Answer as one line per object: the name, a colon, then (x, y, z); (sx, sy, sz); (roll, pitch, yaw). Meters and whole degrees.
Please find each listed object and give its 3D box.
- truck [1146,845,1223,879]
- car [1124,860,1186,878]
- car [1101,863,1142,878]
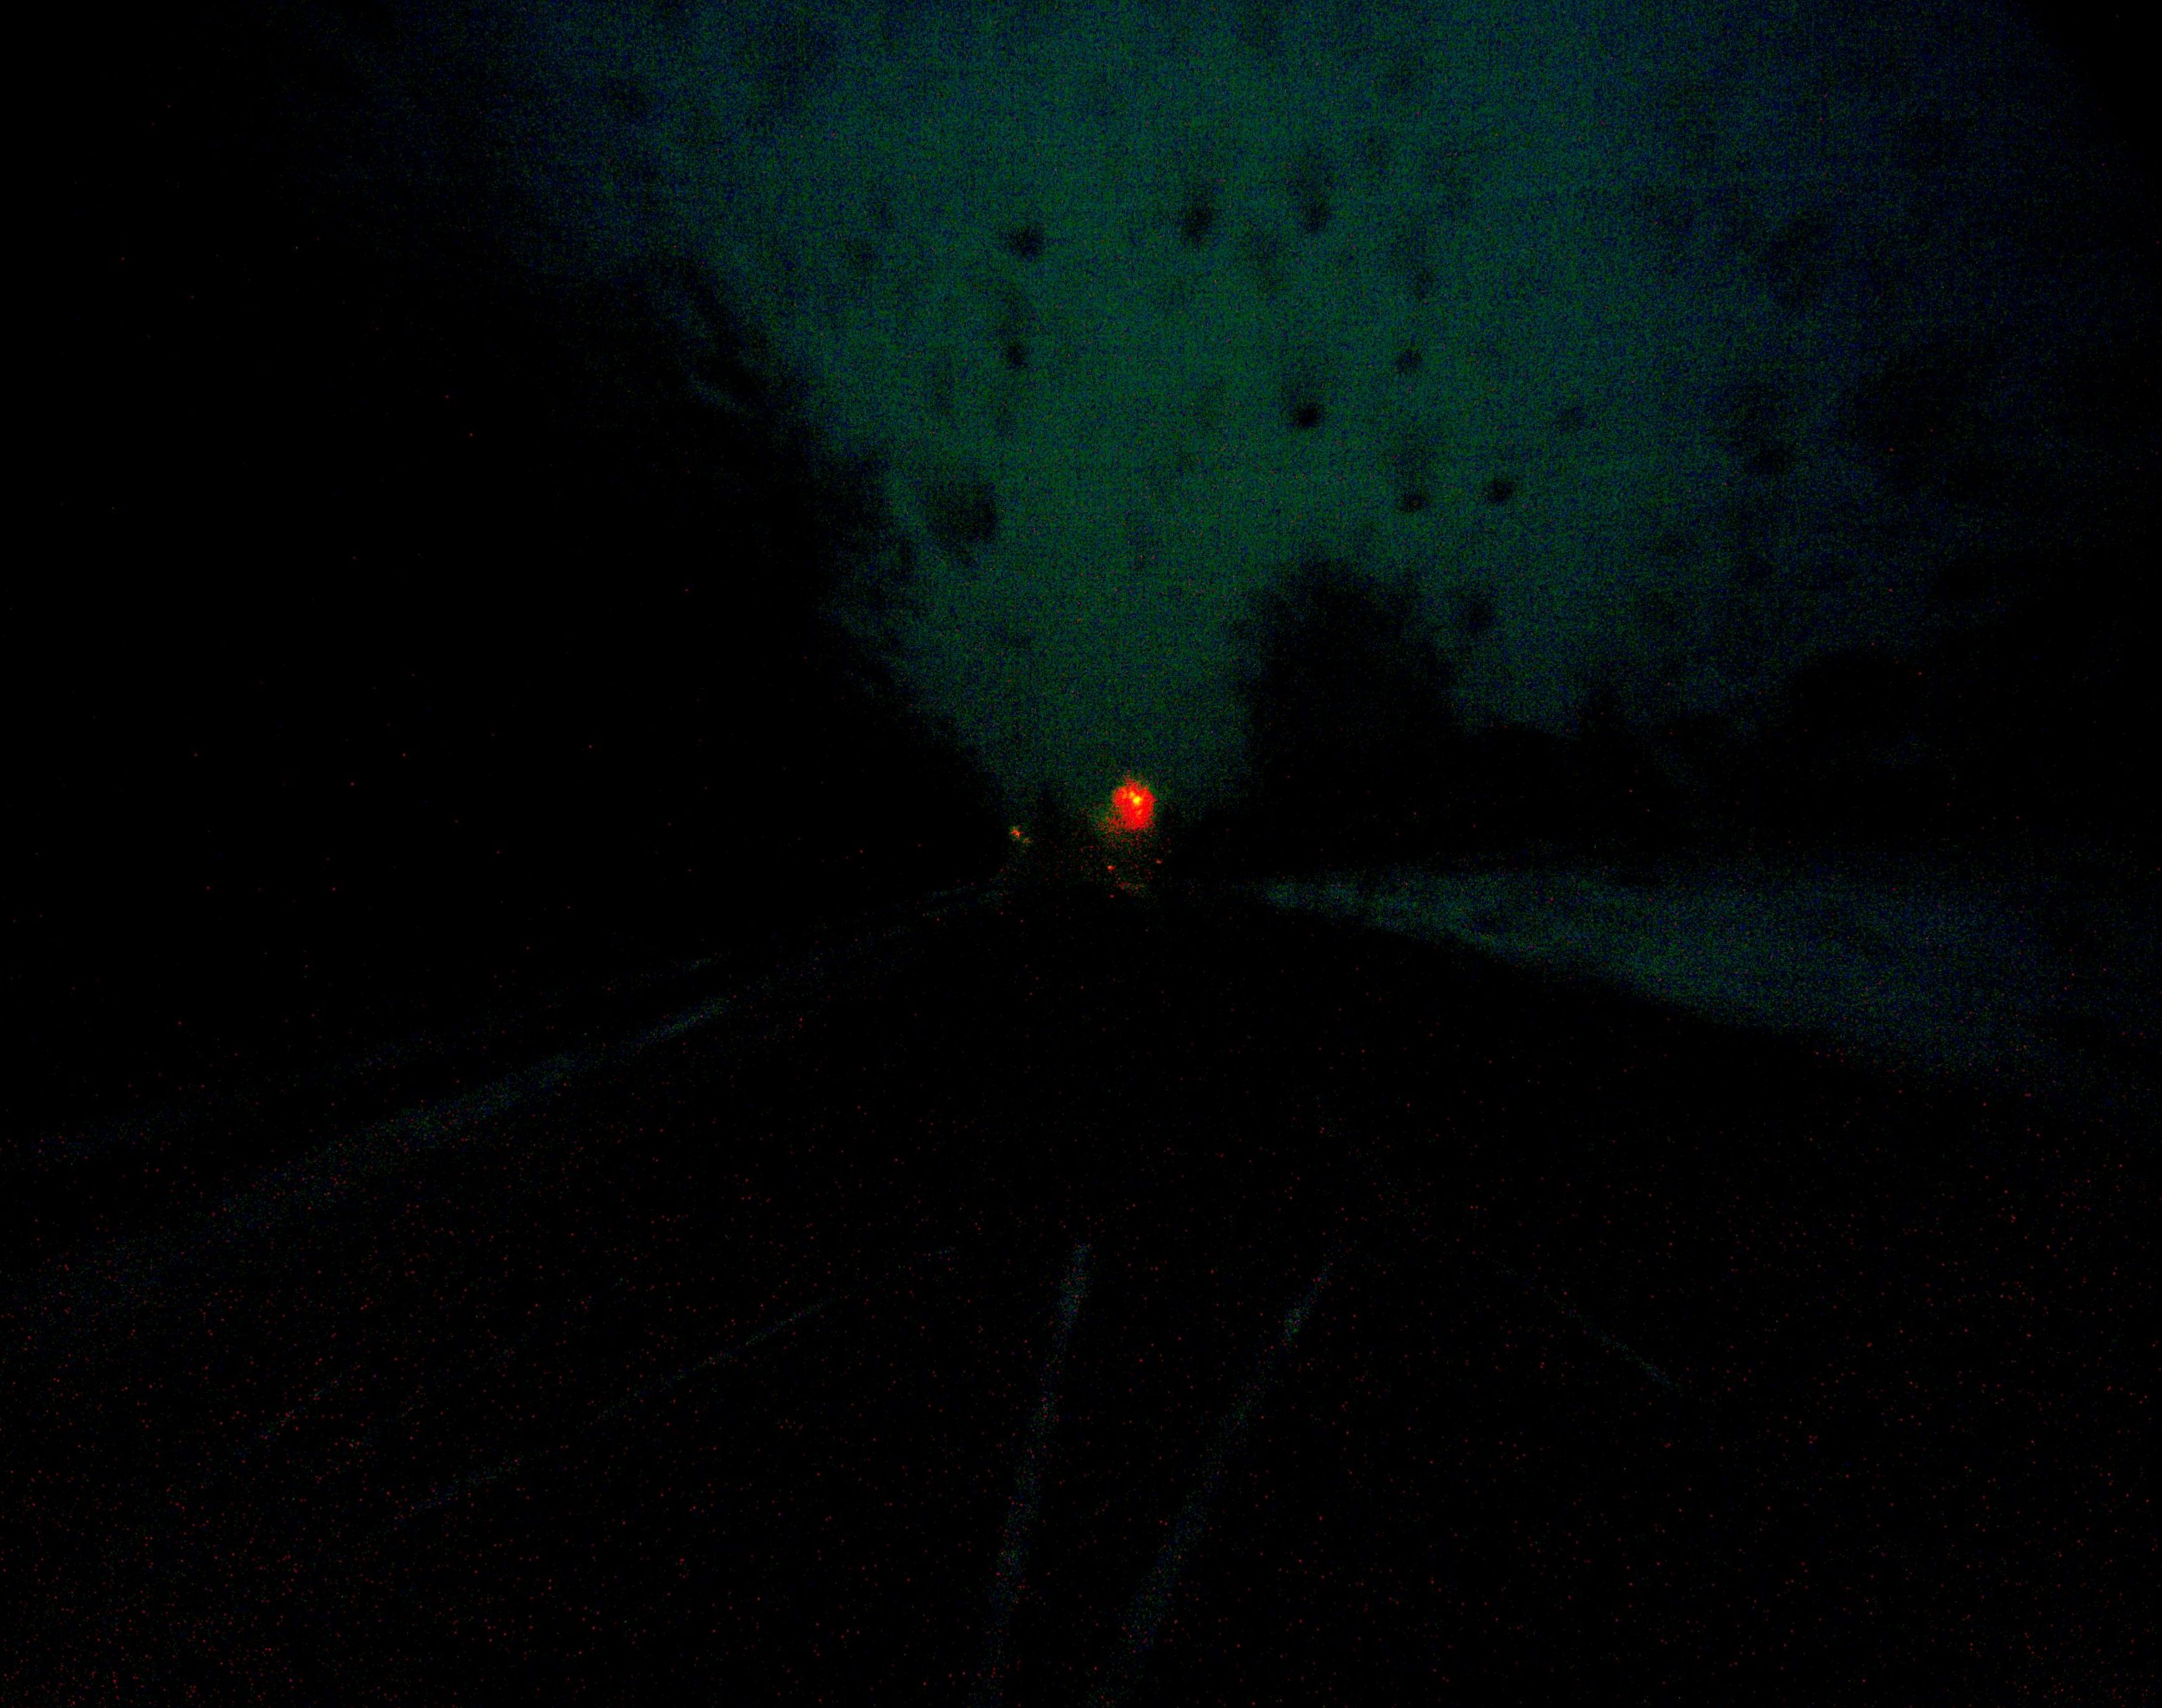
truck: (7.660, 0.626, 56.508); (5.281, 2.288, 1.998); (2, -2, -13)
car: (6.436, 1.334, 66.233); (4.905, 1.476, 2.122); (1, -2, -12)
car: (4.264, 1.772, 79.394); (3.870, 1.462, 1.936); (1, -2, -16)
